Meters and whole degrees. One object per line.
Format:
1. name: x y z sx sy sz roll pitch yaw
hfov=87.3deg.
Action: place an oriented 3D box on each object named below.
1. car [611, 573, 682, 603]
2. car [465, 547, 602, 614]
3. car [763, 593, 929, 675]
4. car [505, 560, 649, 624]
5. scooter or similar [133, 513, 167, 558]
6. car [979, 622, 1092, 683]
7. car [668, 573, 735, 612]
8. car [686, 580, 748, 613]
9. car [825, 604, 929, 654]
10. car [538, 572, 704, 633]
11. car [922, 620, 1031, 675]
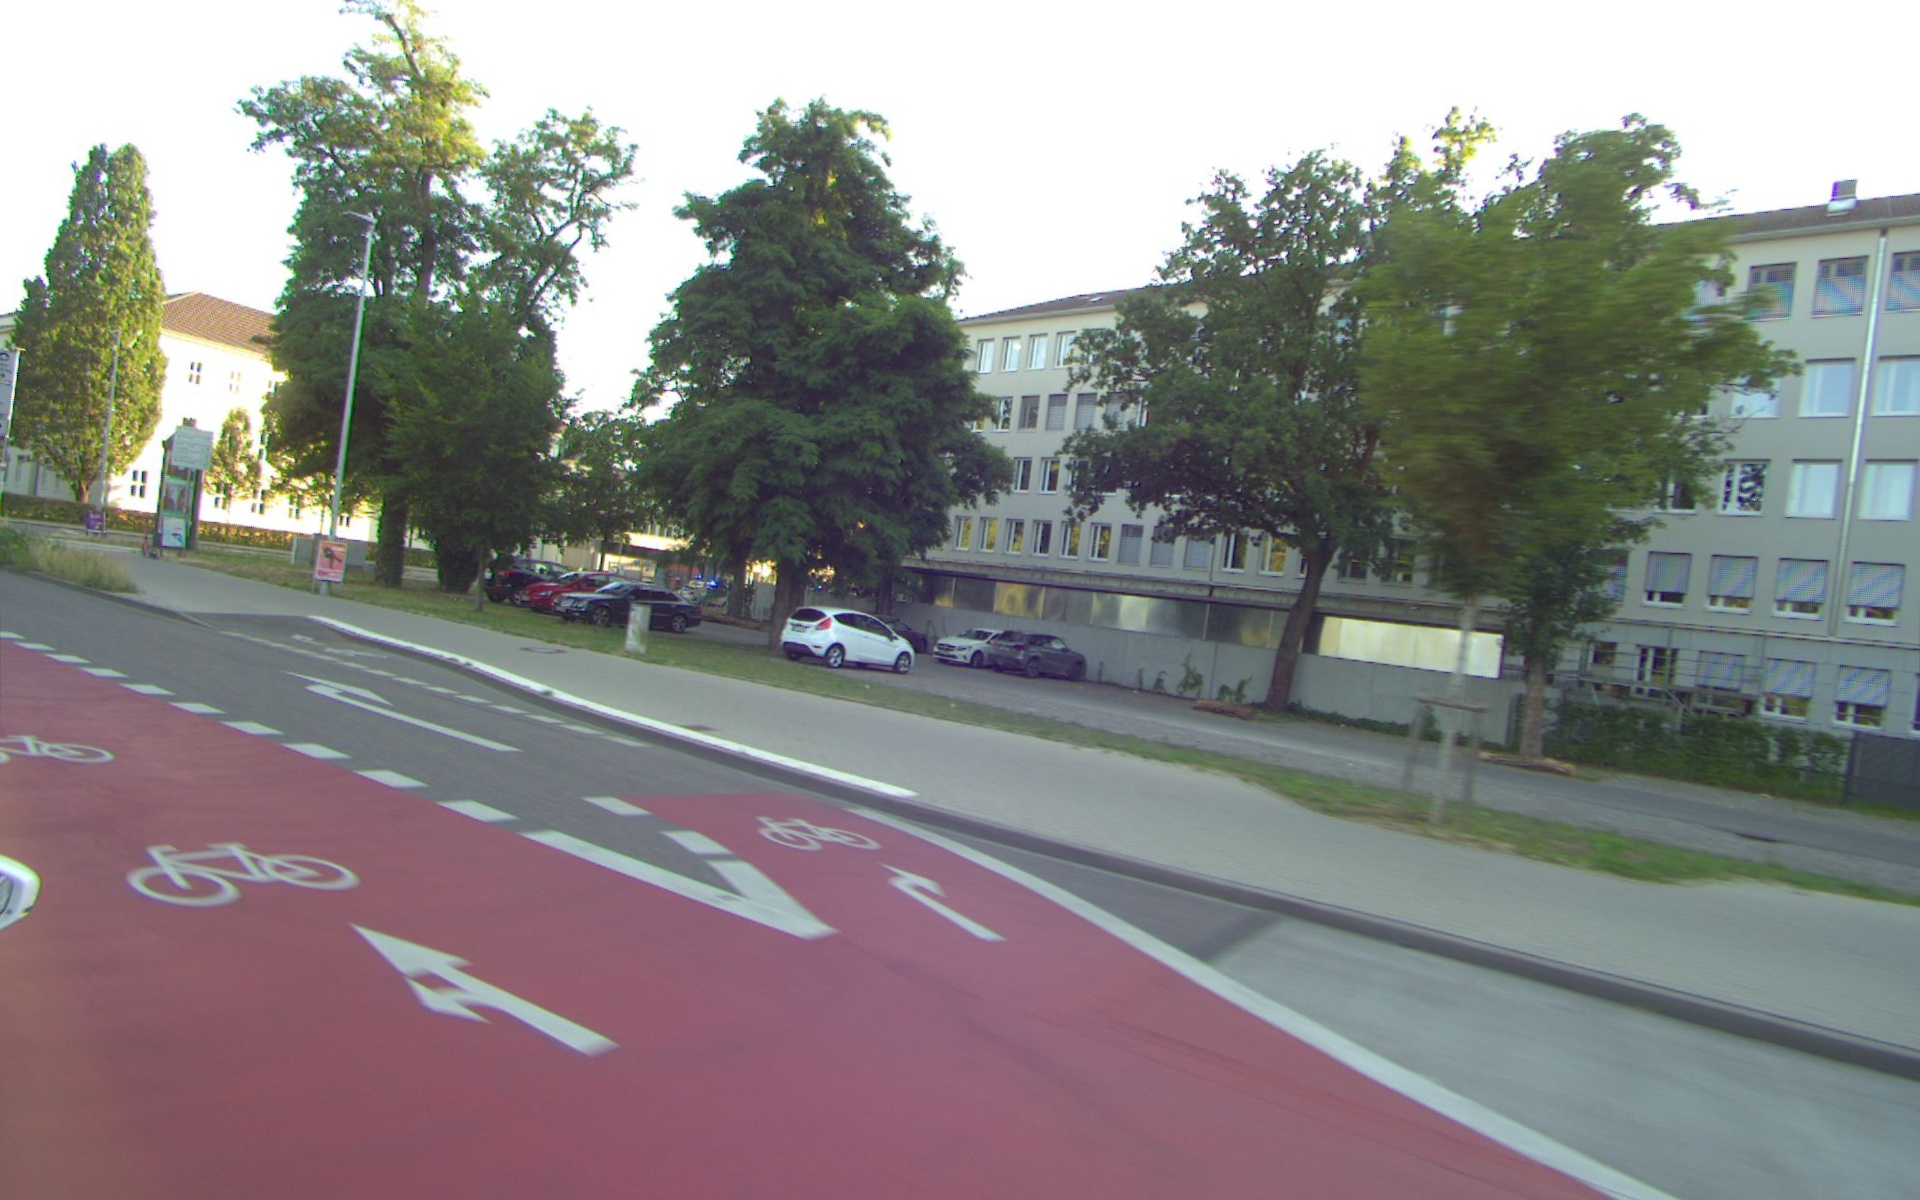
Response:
1. car: -20.265 -0.739 65.152 1.794 1.358 3.986 7 -1 39
2. car: -14.886 -0.666 35.300 1.809 1.713 3.900 7 -2 37
3. car: -2.847 0.922 25.819 1.882 1.555 3.990 7 -2 37
4. car: -12.625 -0.234 33.335 1.760 1.580 3.984 7 -1 40
5. scooter or similar: -24.452 -1.957 30.358 1.290 1.246 0.311 7 0 34
6. car: 2.761 1.904 36.064 1.887 1.635 3.984 6 -3 42
7. car: -17.577 -0.513 68.550 1.714 2.036 3.989 7 -2 38
8. car: -17.566 -0.258 72.763 1.721 1.781 3.990 7 -2 37
9. car: -3.333 1.218 40.881 1.874 1.458 3.988 7 -2 38
10. car: -10.404 0.110 31.165 1.871 1.466 4.568 5 -1 36
11. car: 0.677 1.792 37.326 1.807 1.492 3.986 7 -2 40
